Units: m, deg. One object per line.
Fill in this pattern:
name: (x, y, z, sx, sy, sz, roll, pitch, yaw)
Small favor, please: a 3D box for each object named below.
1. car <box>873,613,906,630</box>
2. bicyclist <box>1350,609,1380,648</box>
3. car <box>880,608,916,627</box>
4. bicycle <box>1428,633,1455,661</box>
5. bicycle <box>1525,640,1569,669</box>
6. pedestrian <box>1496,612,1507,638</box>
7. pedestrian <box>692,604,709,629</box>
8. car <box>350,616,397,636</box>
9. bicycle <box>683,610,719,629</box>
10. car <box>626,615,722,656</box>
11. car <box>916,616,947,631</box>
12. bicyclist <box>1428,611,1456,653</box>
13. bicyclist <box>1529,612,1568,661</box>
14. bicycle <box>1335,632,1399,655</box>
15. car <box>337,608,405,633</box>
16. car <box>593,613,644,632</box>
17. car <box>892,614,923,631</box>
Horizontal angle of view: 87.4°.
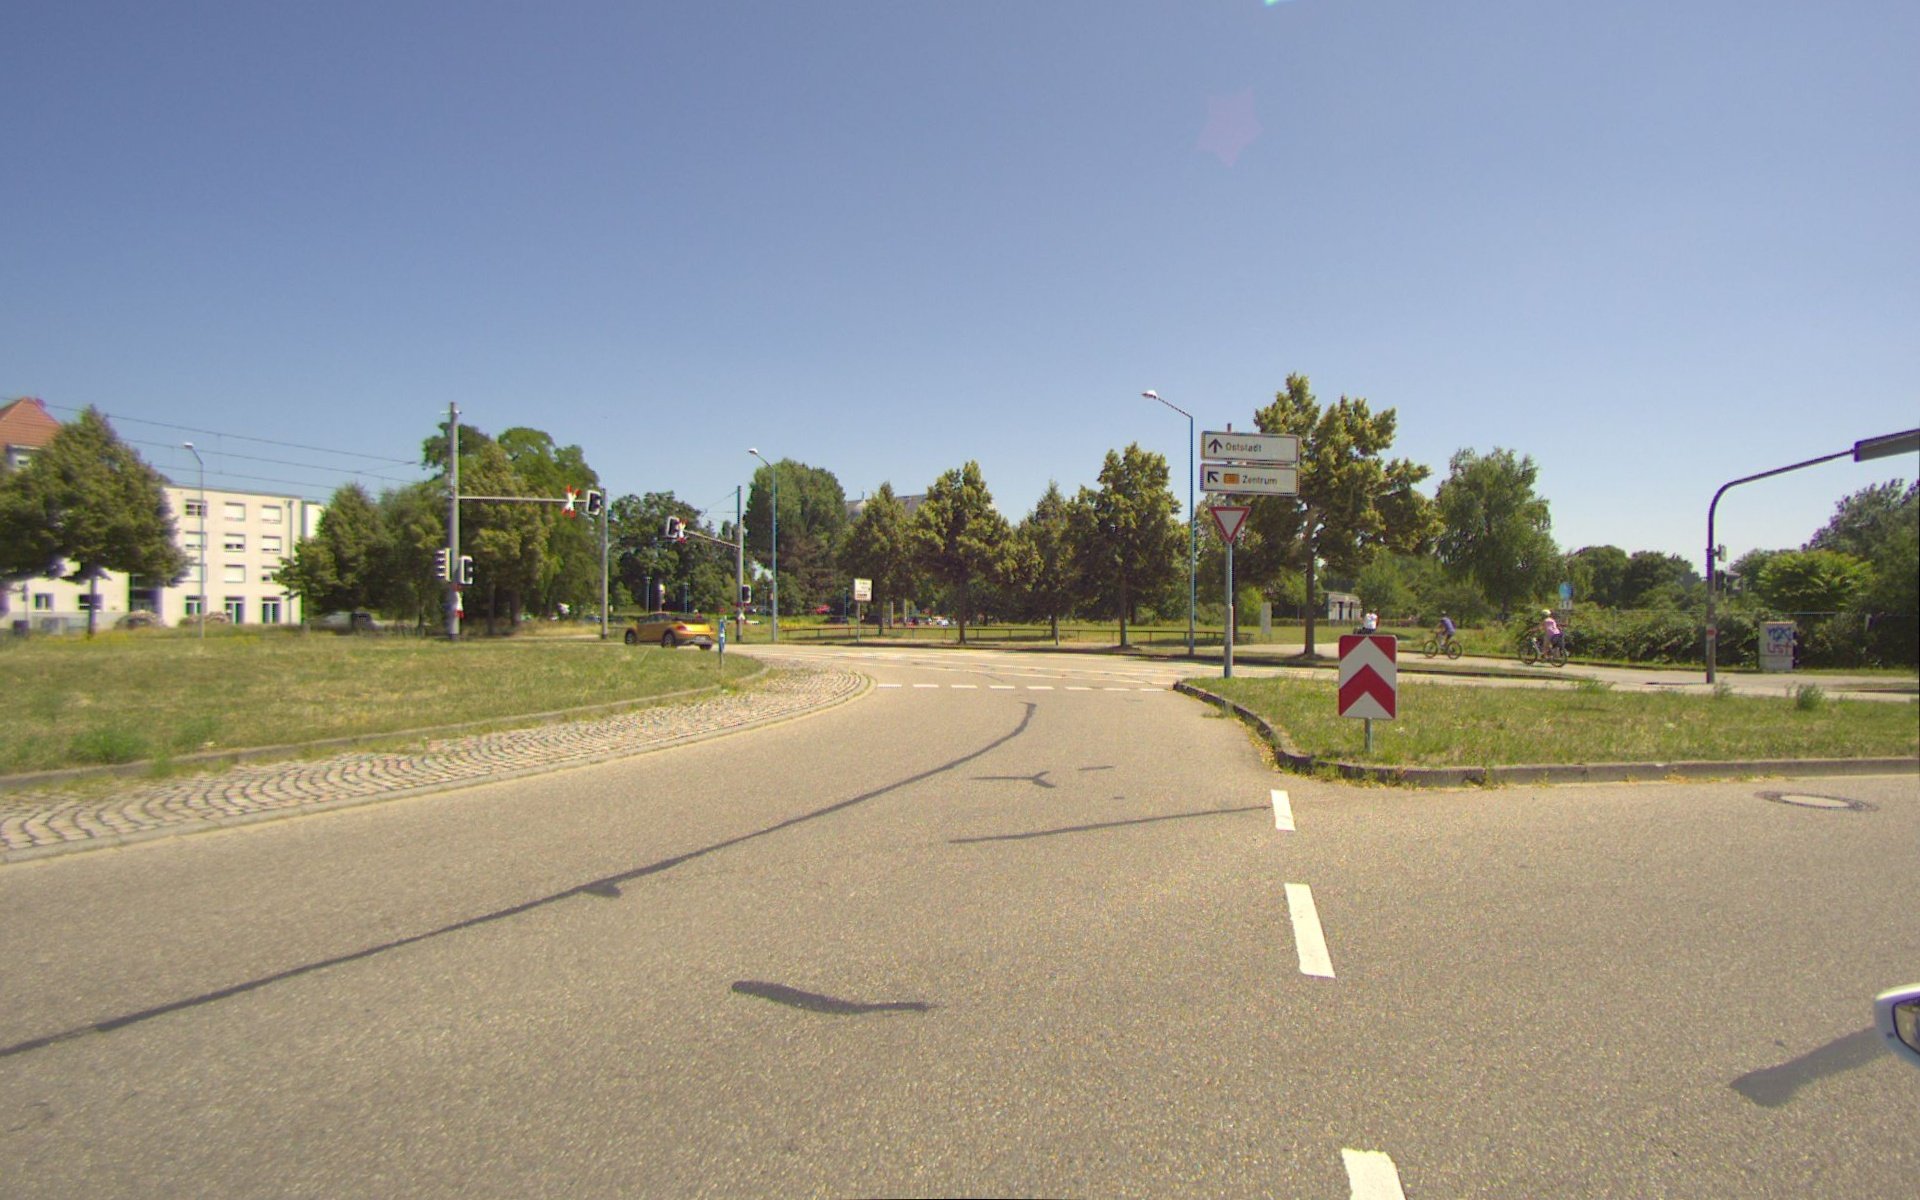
car: (-8.943, 2.787, 128.205, 3.920, 2.040, 2.001, 1, -2, 3)
bicyclist: (17.323, 1.206, 42.956, 0.745, 1.635, 0.974, 2, -2, -20)
car: (-7.270, 2.067, 117.853, 3.920, 2.040, 2.001, 1, -2, 3)
bicycle: (18.089, 1.761, 37.746, 0.882, 0.912, 1.760, 2, 1, 26)
bicycle: (19.900, 1.839, 34.103, 0.881, 0.912, 2.226, 1, -1, 20)
pedestrian: (37.042, 1.721, 68.716, 0.566, 1.753, 0.672, 0, -2, 37)
pedestrian: (-15.994, 1.025, 62.006, 0.802, 1.469, 0.710, 1, -2, 5)
car: (-62.700, 2.831, 107.422, 3.940, 2.040, 1.991, 2, -2, -21)
bicycle: (-15.993, 1.197, 62.000, 2.017, 1.129, 0.730, 1, -2, 2)
car: (-10.842, 1.318, 37.994, 3.609, 1.421, 1.822, 0, -2, 42)
car: (-3.849, 3.168, 135.616, 3.919, 2.040, 2.002, 1, -2, 11)
bicyclist: (18.116, 1.187, 37.791, 0.942, 1.552, 1.185, 0, 0, 25)
bicyclist: (19.947, 1.229, 34.073, 0.941, 1.631, 1.186, 0, -2, 20)
bicycle: (17.341, 1.849, 42.869, 0.730, 0.924, 2.914, 2, -2, -22)
car: (-44.041, 1.551, 75.186, 1.971, 1.706, 3.979, -1, -3, 42)
car: (-31.511, 2.074, 92.810, 3.921, 1.594, 2.001, 1, -2, 0)
car: (-6.855, 2.949, 131.396, 3.920, 2.040, 2.001, 1, -2, 3)
